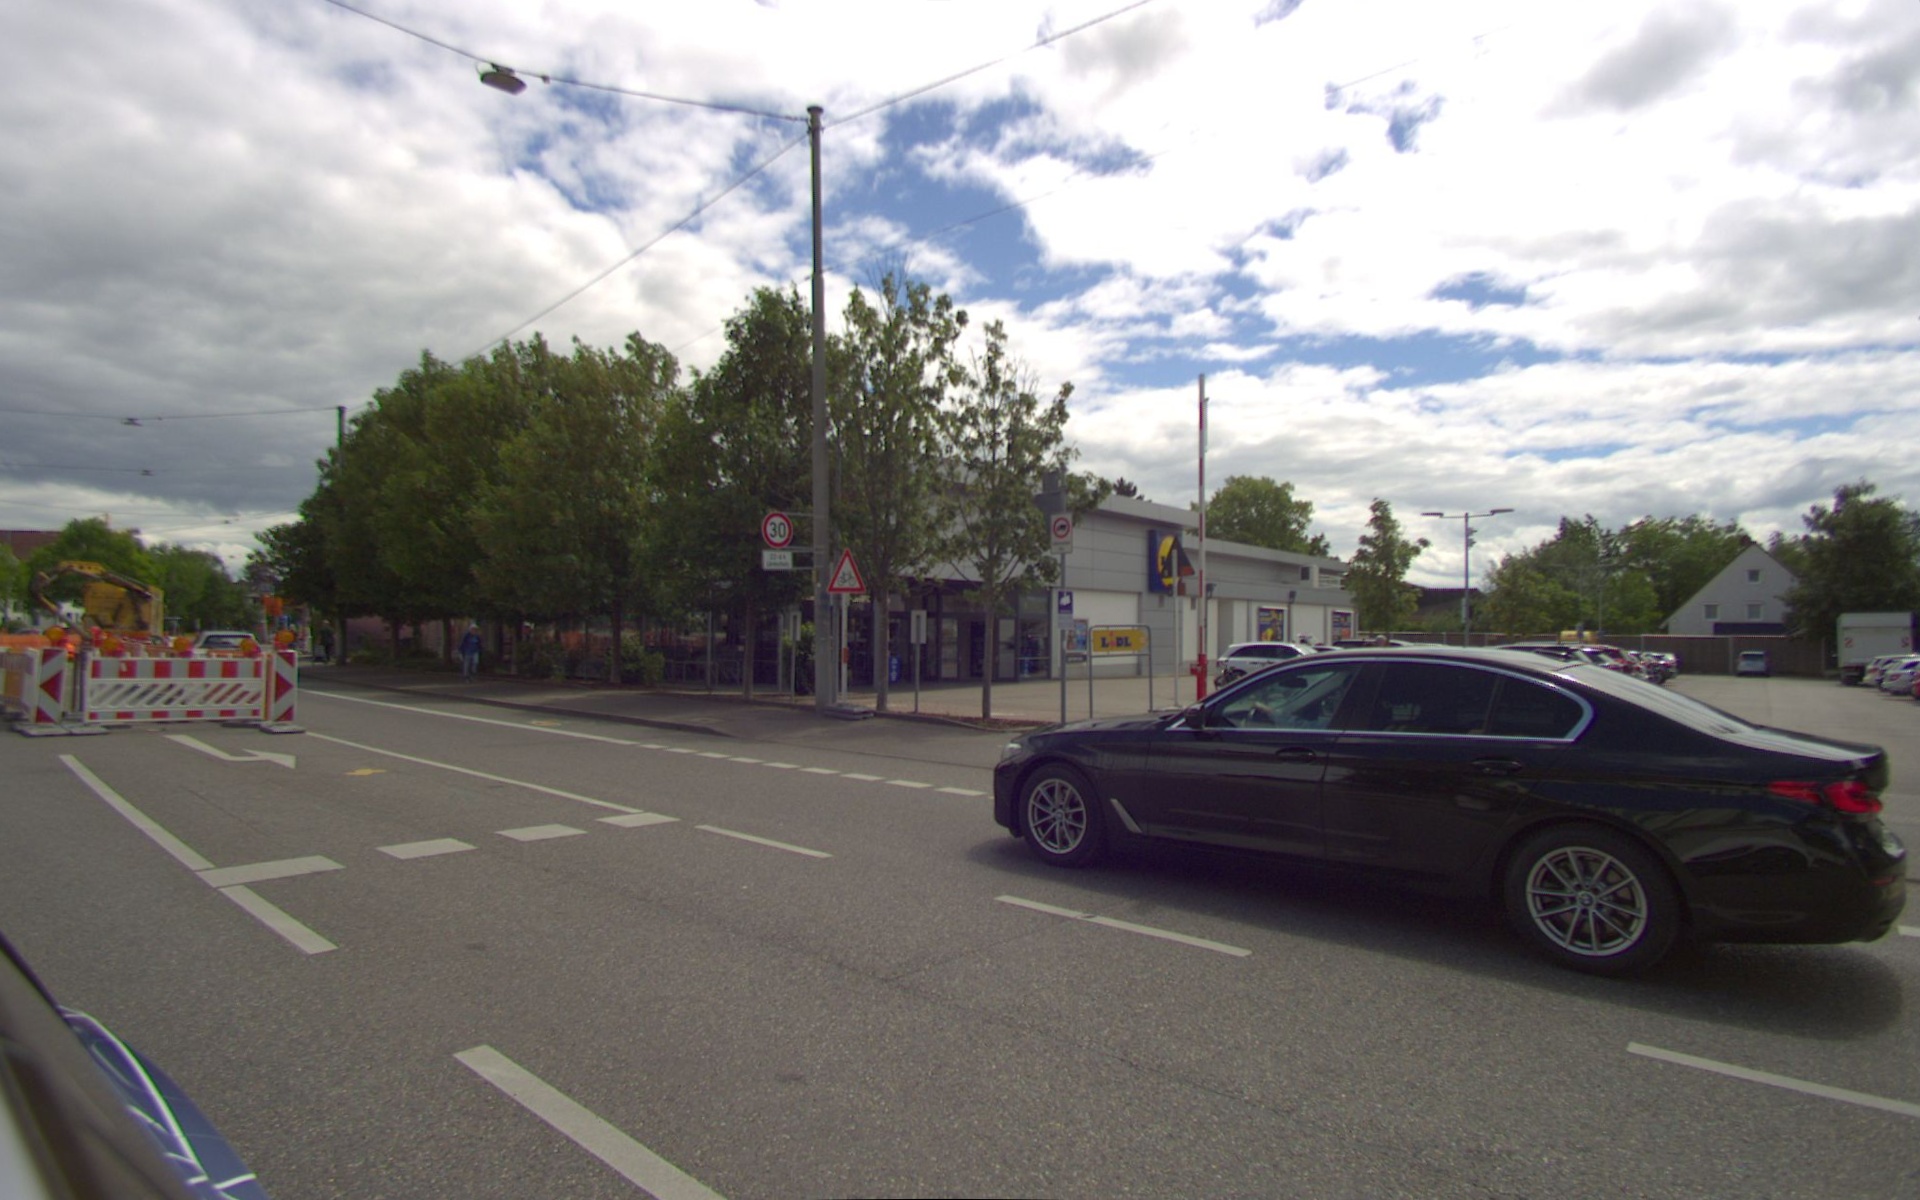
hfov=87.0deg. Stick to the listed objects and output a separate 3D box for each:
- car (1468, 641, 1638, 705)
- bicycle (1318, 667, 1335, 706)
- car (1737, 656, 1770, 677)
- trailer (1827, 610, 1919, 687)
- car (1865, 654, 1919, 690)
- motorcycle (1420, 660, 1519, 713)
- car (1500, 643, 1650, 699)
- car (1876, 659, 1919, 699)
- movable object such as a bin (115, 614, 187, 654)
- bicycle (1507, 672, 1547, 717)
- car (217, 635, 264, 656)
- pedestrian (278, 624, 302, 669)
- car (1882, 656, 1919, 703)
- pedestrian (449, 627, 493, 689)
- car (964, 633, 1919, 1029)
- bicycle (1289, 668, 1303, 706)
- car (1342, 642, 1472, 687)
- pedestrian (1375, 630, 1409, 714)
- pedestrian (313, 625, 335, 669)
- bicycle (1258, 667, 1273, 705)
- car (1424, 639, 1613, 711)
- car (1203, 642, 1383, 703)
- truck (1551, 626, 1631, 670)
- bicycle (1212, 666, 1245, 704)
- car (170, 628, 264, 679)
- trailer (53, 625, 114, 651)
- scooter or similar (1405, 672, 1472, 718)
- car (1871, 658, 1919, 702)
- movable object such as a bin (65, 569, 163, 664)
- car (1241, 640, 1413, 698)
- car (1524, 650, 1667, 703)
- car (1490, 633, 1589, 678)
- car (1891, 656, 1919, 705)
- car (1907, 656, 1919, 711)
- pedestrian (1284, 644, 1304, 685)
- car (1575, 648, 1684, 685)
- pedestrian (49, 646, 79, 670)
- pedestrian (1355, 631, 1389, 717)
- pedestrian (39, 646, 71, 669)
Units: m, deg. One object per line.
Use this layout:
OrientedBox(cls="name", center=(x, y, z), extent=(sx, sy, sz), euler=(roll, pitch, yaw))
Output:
OrientedBox(cls="car", center=(17.234, 2.073, 29.488), extent=(3.998, 1.708, 1.973), euler=(-1, -3, 41))
OrientedBox(cls="bicycle", center=(9.807, 2.296, 27.101), extent=(0.346, 0.964, 1.873), euler=(0, -3, 18))
OrientedBox(cls="car", center=(50.530, 4.241, 64.468), extent=(1.584, 1.277, 3.948), euler=(-1, -3, 38))
OrientedBox(cls="trailer", center=(44.732, 2.362, 49.474), extent=(3.354, 3.513, 6.095), euler=(-1, -3, 40))
OrientedBox(cls="car", center=(39.670, 2.945, 41.221), extent=(3.993, 1.409, 1.975), euler=(-1, -3, 37))
OrientedBox(cls="motorcycle", center=(12.121, 2.045, 24.100), extent=(1.926, 1.202, 0.862), euler=(1, -3, -4))
OrientedBox(cls="car", center=(20.453, 2.317, 33.743), extent=(3.998, 1.708, 1.973), euler=(-1, -3, 41))
OrientedBox(cls="car", center=(36.395, 2.929, 37.092), extent=(3.993, 1.409, 1.975), euler=(-1, -3, 37))
OrientedBox(cls="movable object such as a bin", center=(-57.315, 2.434, 71.840), extent=(1.965, 2.646, 6.543), euler=(2, -3, -21))
OrientedBox(cls="bicycle", center=(12.997, 2.152, 23.186), extent=(1.631, 0.964, 0.314), euler=(3, -3, -43))
OrientedBox(cls="car", center=(-54.309, 3.409, 76.440), extent=(1.828, 1.464, 4.012), euler=(0, -1, -19))
OrientedBox(cls="pedestrian", center=(-28.234, 1.956, 42.639), extent=(0.685, 1.861, 0.624), euler=(1, -2, -20))
OrientedBox(cls="car", center=(31.522, 2.510, 31.478), extent=(3.993, 1.409, 1.975), euler=(-1, -3, 37))
OrientedBox(cls="pedestrian", center=(-13.024, 1.524, 26.947), extent=(0.829, 1.615, 0.745), euler=(-1, -3, 39))
OrientedBox(cls="car", center=(2.492, 0.957, 5.945), extent=(4.808, 1.410, 1.973), euler=(-1, -4, 41))
OrientedBox(cls="bicycle", center=(9.113, 2.344, 27.495), extent=(0.346, 0.964, 1.873), euler=(0, -3, 18))
OrientedBox(cls="car", center=(17.405, 2.481, 39.488), extent=(4.310, 1.584, 1.973), euler=(-1, -2, 40))
OrientedBox(cls="pedestrian", center=(9.792, 1.626, 22.956), extent=(0.611, 1.873, 0.417), euler=(-1, -3, 38))
OrientedBox(cls="pedestrian", center=(-27.059, 2.013, 43.049), extent=(0.616, 1.861, 0.624), euler=(1, -2, -20))
OrientedBox(cls="bicycle", center=(8.419, 2.351, 27.899), extent=(0.346, 0.964, 1.873), euler=(0, -3, 18))
OrientedBox(cls="car", center=(14.466, 1.885, 26.323), extent=(3.998, 1.708, 1.973), euler=(-1, -3, 41))
OrientedBox(cls="car", center=(9.764, 2.069, 29.864), extent=(4.670, 1.584, 1.973), euler=(-1, -2, 40))
OrientedBox(cls="truck", center=(42.533, 3.204, 68.259), extent=(4.310, 2.792, 1.973), euler=(-1, -3, 40))
OrientedBox(cls="bicycle", center=(7.474, 2.351, 28.256), extent=(0.344, 0.964, 1.886), euler=(1, -2, -3))
OrientedBox(cls="car", center=(-23.797, 1.679, 32.362), extent=(1.833, 1.525, 4.002), euler=(3, -3, -45))
OrientedBox(cls="trailer", center=(-80.413, 3.503, 92.935), extent=(2.556, 2.262, 5.692), euler=(-1, -2, -22))
OrientedBox(cls="scooter or similar", center=(10.620, 2.095, 22.486), extent=(1.228, 0.950, 0.647), euler=(-1, -3, 38))
OrientedBox(cls="car", center=(33.109, 2.698, 33.640), extent=(3.993, 1.409, 1.975), euler=(-1, -3, 37))
OrientedBox(cls="movable object such as a bin", center=(-42.340, 0.942, 50.961), extent=(2.556, 4.254, 11.149), euler=(3, -3, -34))
OrientedBox(cls="car", center=(11.411, 2.099, 31.648), extent=(4.670, 1.584, 1.973), euler=(-1, -2, 40))
OrientedBox(cls="car", center=(22.271, 2.627, 35.539), extent=(3.998, 1.708, 1.973), euler=(-1, -3, 41))
OrientedBox(cls="car", center=(33.512, 3.174, 58.558), extent=(4.695, 2.413, 1.973), euler=(-1, -3, 40))
OrientedBox(cls="car", center=(30.163, 2.405, 29.682), extent=(3.993, 1.409, 1.975), euler=(-1, -3, 37))
OrientedBox(cls="car", center=(27.252, 2.208, 26.037), extent=(3.993, 1.409, 1.975), euler=(-1, -3, 37))
OrientedBox(cls="pedestrian", center=(13.399, 2.593, 40.609), extent=(0.606, 1.629, 0.499), euler=(-1, -3, 40))
OrientedBox(cls="car", center=(31.020, 3.046, 46.959), extent=(3.998, 1.596, 1.973), euler=(-1, -3, 41))
OrientedBox(cls="pedestrian", center=(-39.211, 2.538, 44.300), extent=(0.632, 0.998, 0.795), euler=(1, -3, -11))
OrientedBox(cls="pedestrian", center=(9.129, 1.622, 22.434), extent=(0.611, 1.873, 0.417), euler=(-1, -3, 38))
OrientedBox(cls="pedestrian", center=(-40.125, 2.552, 44.876), extent=(0.779, 0.998, 0.814), euler=(2, -3, -21))
